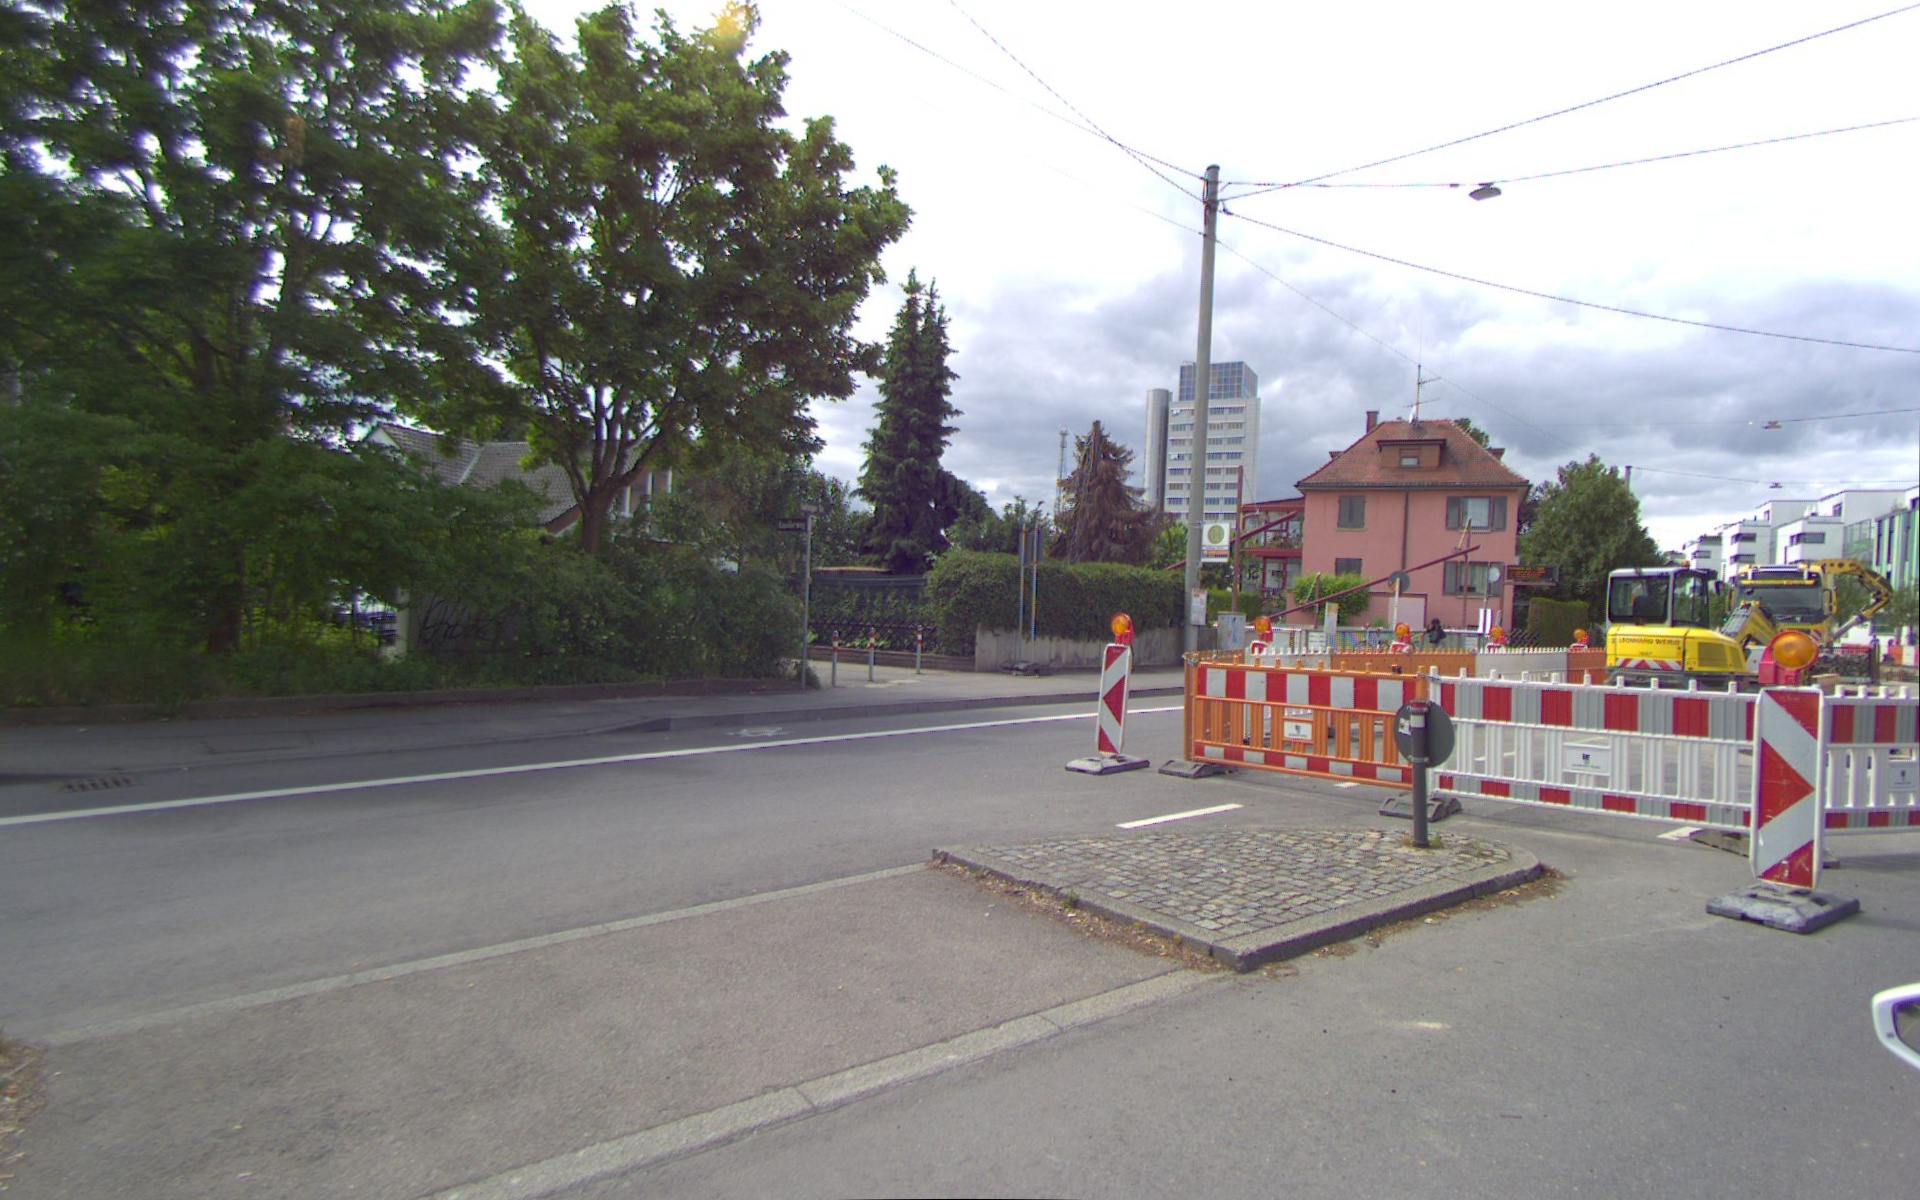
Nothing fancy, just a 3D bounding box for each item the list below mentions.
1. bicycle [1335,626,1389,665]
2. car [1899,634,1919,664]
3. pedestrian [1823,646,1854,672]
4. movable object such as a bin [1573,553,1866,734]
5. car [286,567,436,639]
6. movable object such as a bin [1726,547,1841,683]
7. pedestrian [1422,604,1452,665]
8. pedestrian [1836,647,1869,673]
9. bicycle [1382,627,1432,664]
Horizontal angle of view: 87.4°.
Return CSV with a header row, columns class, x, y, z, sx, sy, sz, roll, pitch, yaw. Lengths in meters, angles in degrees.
class,x,y,z,sx,sy,sz,roll,pitch,yaw
bicycle,11.715,1.322,29.224,2.115,1.097,0.533,2,-1,-41
car,52.194,2.697,53.689,1.816,1.533,3.995,4,1,27
pedestrian,35.459,2.375,40.535,0.782,1.004,0.639,2,0,-23
movable object such as a bin,13.282,0.724,17.378,6.453,2.660,1.982,2,0,-33
car,-14.171,0.066,23.695,3.941,1.554,1.882,1,-1,41
movable object such as a bin,30.151,0.595,36.556,2.562,4.277,11.059,1,-1,42
pedestrian,15.297,1.092,32.214,0.581,1.911,0.673,2,0,-43
pedestrian,35.159,2.356,39.581,0.803,1.004,0.786,2,0,-33
bicycle,13.821,1.401,31.020,2.115,1.097,0.533,2,-1,-41
